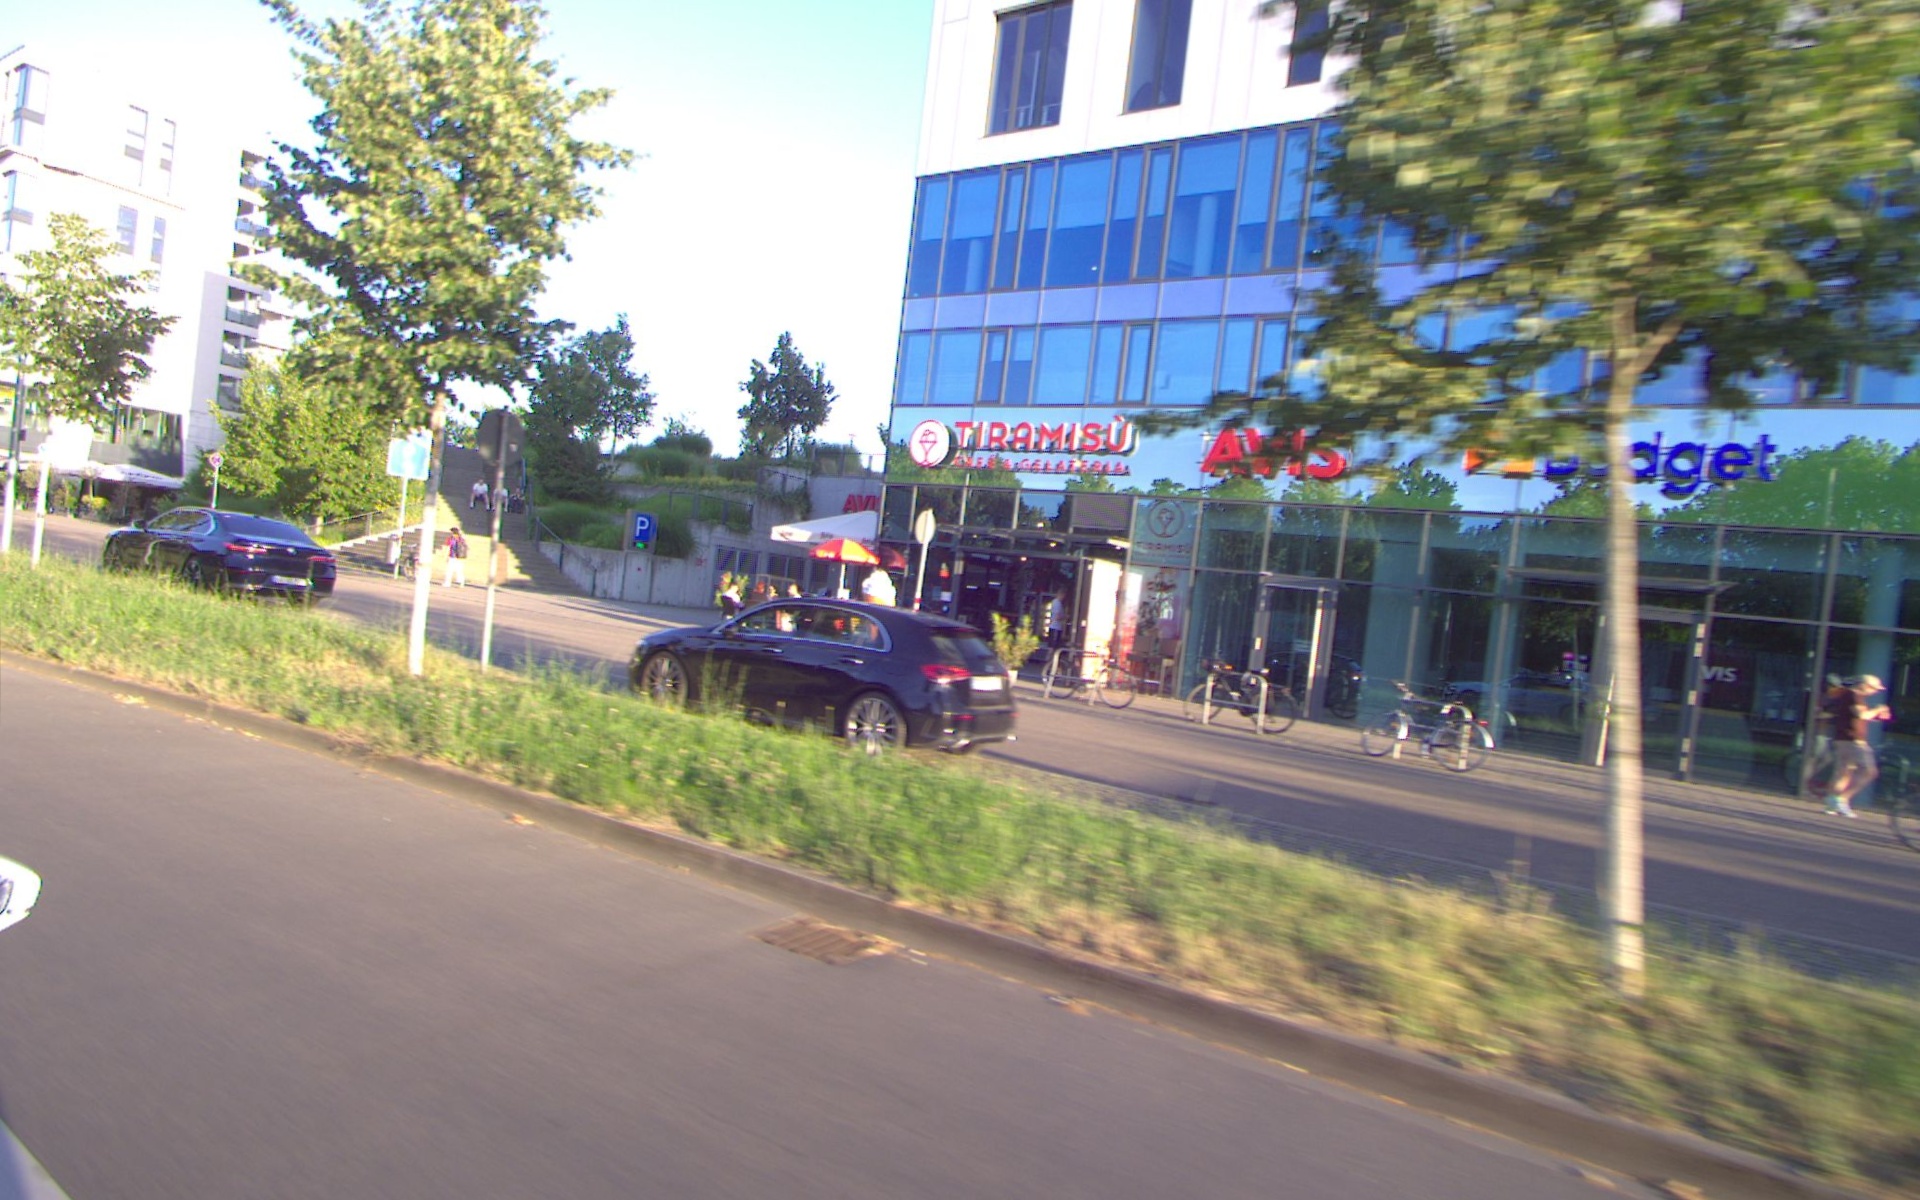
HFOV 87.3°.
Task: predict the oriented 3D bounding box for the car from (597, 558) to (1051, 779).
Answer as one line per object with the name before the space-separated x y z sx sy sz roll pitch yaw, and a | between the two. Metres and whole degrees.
car | -1.497 0.594 10.456 4.404 1.519 1.811 7 0 31

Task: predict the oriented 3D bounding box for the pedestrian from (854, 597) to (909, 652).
pedestrian | -1.733 0.550 22.353 0.673 1.140 0.972 7 3 32

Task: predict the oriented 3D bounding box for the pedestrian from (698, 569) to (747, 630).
pedestrian | -5.867 -0.007 24.845 0.756 1.385 0.745 7 1 20

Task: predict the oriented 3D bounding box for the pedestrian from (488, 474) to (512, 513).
pedestrian | -18.074 -4.163 39.533 0.662 1.398 0.821 8 0 -27

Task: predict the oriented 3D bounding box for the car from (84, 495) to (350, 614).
car | -13.499 -0.852 18.172 5.320 1.519 1.922 7 0 31

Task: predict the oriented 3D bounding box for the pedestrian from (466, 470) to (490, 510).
pedestrian | -18.787 -4.279 39.196 0.662 1.398 0.821 8 0 -27

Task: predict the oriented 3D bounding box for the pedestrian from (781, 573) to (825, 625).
pedestrian | -4.244 -0.014 27.251 0.758 1.281 0.743 7 1 32

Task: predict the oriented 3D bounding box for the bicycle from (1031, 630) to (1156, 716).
bicycle | 2.211 1.182 16.711 1.841 1.148 0.640 8 3 28

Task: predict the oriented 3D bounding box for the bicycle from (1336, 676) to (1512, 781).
bicycle | 6.297 1.721 13.740 2.036 1.055 0.597 7 3 25

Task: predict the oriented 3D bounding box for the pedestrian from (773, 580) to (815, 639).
pedestrian | -3.914 0.225 23.705 0.617 1.308 0.684 7 3 19

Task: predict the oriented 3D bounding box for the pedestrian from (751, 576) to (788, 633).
pedestrian | -4.592 0.101 24.303 0.672 1.308 0.662 6 3 -1

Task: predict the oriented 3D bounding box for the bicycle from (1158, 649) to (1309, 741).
bicycle | 4.206 1.430 15.514 2.037 1.078 0.683 8 3 29

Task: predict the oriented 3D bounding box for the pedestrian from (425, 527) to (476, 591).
pedestrian | -14.586 -1.184 28.805 1.060 1.675 0.695 7 1 31

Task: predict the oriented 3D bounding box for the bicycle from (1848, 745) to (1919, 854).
bicycle | 11.027 2.290 10.815 2.036 1.055 0.530 7 3 26

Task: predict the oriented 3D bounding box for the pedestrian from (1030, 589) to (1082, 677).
pedestrian | 2.020 0.696 21.194 0.657 1.783 0.677 3 4 -41

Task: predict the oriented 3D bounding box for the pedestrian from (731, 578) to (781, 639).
pedestrian | -4.667 0.194 23.060 0.674 1.308 0.774 8 3 38

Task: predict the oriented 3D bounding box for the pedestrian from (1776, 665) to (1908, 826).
pedestrian | 11.587 1.865 13.270 0.931 1.906 1.027 7 1 30

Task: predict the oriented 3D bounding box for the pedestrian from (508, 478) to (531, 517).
pedestrian | -17.472 -4.058 39.903 0.662 1.398 0.821 8 0 -27

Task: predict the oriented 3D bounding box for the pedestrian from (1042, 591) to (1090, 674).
pedestrian | 2.395 0.720 22.728 0.673 1.783 0.660 7 3 33

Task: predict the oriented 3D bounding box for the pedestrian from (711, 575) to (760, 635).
pedestrian | -5.260 0.125 23.542 0.674 1.308 0.779 8 3 38

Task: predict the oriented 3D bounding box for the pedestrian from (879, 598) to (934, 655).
pedestrian | -1.165 0.581 21.907 0.673 1.140 0.972 7 3 32

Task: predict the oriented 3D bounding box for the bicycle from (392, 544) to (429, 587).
bicycle | -15.664 -0.993 28.652 0.540 1.056 1.892 6 1 -39

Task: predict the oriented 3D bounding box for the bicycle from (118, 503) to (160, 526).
bicycle | -48.530 -5.035 59.476 0.491 1.121 1.797 7 0 28
